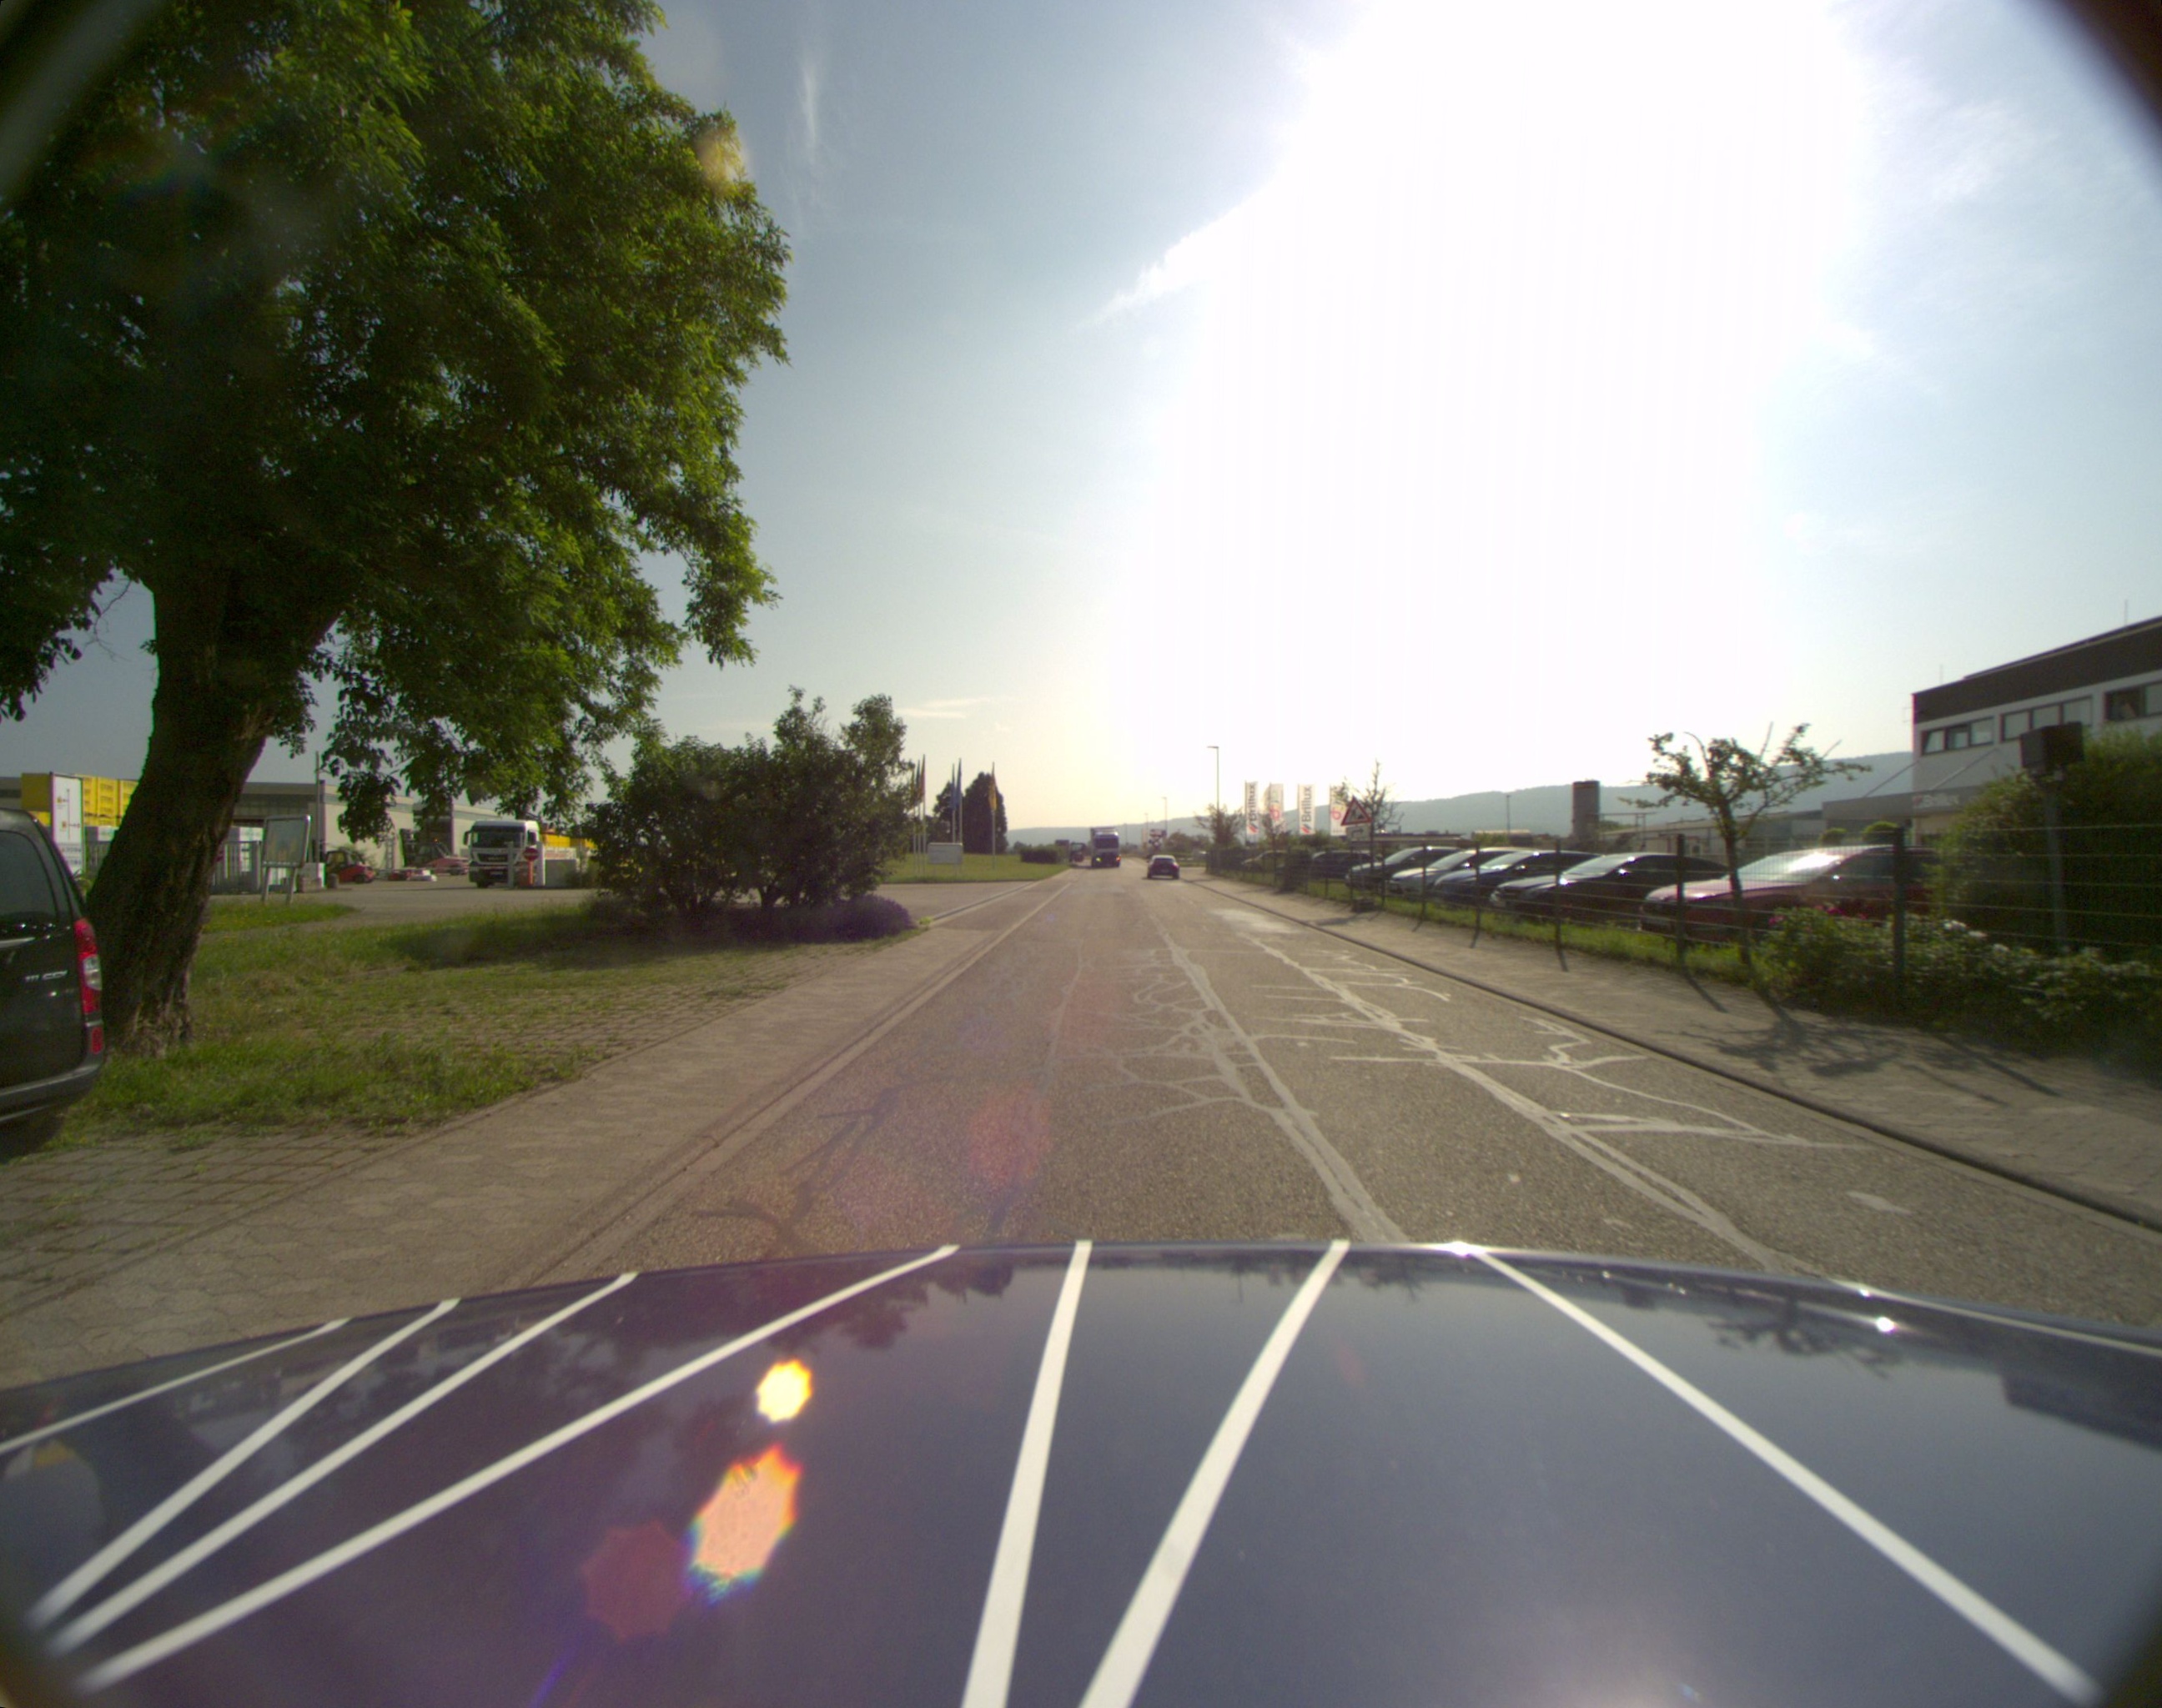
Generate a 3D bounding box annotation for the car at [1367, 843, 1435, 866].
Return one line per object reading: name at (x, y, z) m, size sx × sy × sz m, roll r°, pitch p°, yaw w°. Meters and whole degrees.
car at (24.348, 0.033, 57.906) m, size 4.653 × 1.742 × 2.155 m, roll 0°, pitch 1°, yaw 23°

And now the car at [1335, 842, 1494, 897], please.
car at (10.294, 0.451, 23.692) m, size 4.137 × 1.558 × 1.865 m, roll 1°, pitch 1°, yaw 2°

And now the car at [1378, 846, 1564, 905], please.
car at (10.427, 0.549, 20.568) m, size 4.050 × 1.436 × 1.874 m, roll 1°, pitch 1°, yaw 2°

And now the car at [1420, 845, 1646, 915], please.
car at (10.253, 0.559, 17.499) m, size 4.050 × 1.436 × 1.874 m, roll 1°, pitch 1°, yaw 2°

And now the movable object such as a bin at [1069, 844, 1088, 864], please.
movable object such as a bin at (-0.488, -0.078, 117.482) m, size 2.435 × 2.994 × 5.750 m, roll 1°, pitch 1°, yaw -5°

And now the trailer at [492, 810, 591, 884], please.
trailer at (-31.186, -0.429, 44.311) m, size 2.487 × 3.854 × 7.787 m, roll -3°, pitch 1°, yaw -20°

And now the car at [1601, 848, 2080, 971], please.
car at (10.145, 0.687, 10.485) m, size 4.547 × 1.436 × 1.952 m, roll 1°, pitch 1°, yaw 2°

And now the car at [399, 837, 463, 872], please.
car at (-52.058, 0.042, 60.927) m, size 3.518 × 2.695 × 1.708 m, roll 0°, pitch 1°, yaw -19°

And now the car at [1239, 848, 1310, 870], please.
car at (12.404, 0.331, 48.928) m, size 4.173 × 1.360 × 1.869 m, roll 0°, pitch 1°, yaw 3°

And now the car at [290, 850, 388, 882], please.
car at (-47.505, 0.734, 48.724) m, size 4.003 × 2.002 × 1.996 m, roll 0°, pitch 1°, yaw -19°

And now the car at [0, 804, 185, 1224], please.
car at (-6.719, 0.701, 3.056) m, size 3.996 × 1.827 × 2.000 m, roll 0°, pitch 1°, yaw 4°

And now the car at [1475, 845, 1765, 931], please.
car at (9.940, 0.588, 14.281) m, size 4.050 × 1.436 × 1.874 m, roll 1°, pitch 1°, yaw 2°

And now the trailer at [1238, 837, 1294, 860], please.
trailer at (22.031, -0.683, 90.272) m, size 6.314 × 2.590 × 2.857 m, roll 1°, pitch 1°, yaw 16°

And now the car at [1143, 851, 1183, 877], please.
car at (4.911, 0.577, 45.986) m, size 1.998 × 1.441 × 4.419 m, roll 2°, pitch 1°, yaw 1°

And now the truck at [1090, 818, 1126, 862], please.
truck at (2.813, -1.414, 77.666) m, size 3.394 × 4.183 × 6.098 m, roll -2°, pitch 1°, yaw 2°

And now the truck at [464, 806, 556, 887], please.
truck at (-29.440, -0.396, 39.365) m, size 2.547 × 3.854 × 3.993 m, roll -3°, pitch 2°, yaw -20°

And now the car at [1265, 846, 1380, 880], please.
car at (11.168, 0.382, 35.447) m, size 4.697 × 1.436 × 2.078 m, roll 1°, pitch 1°, yaw 2°
